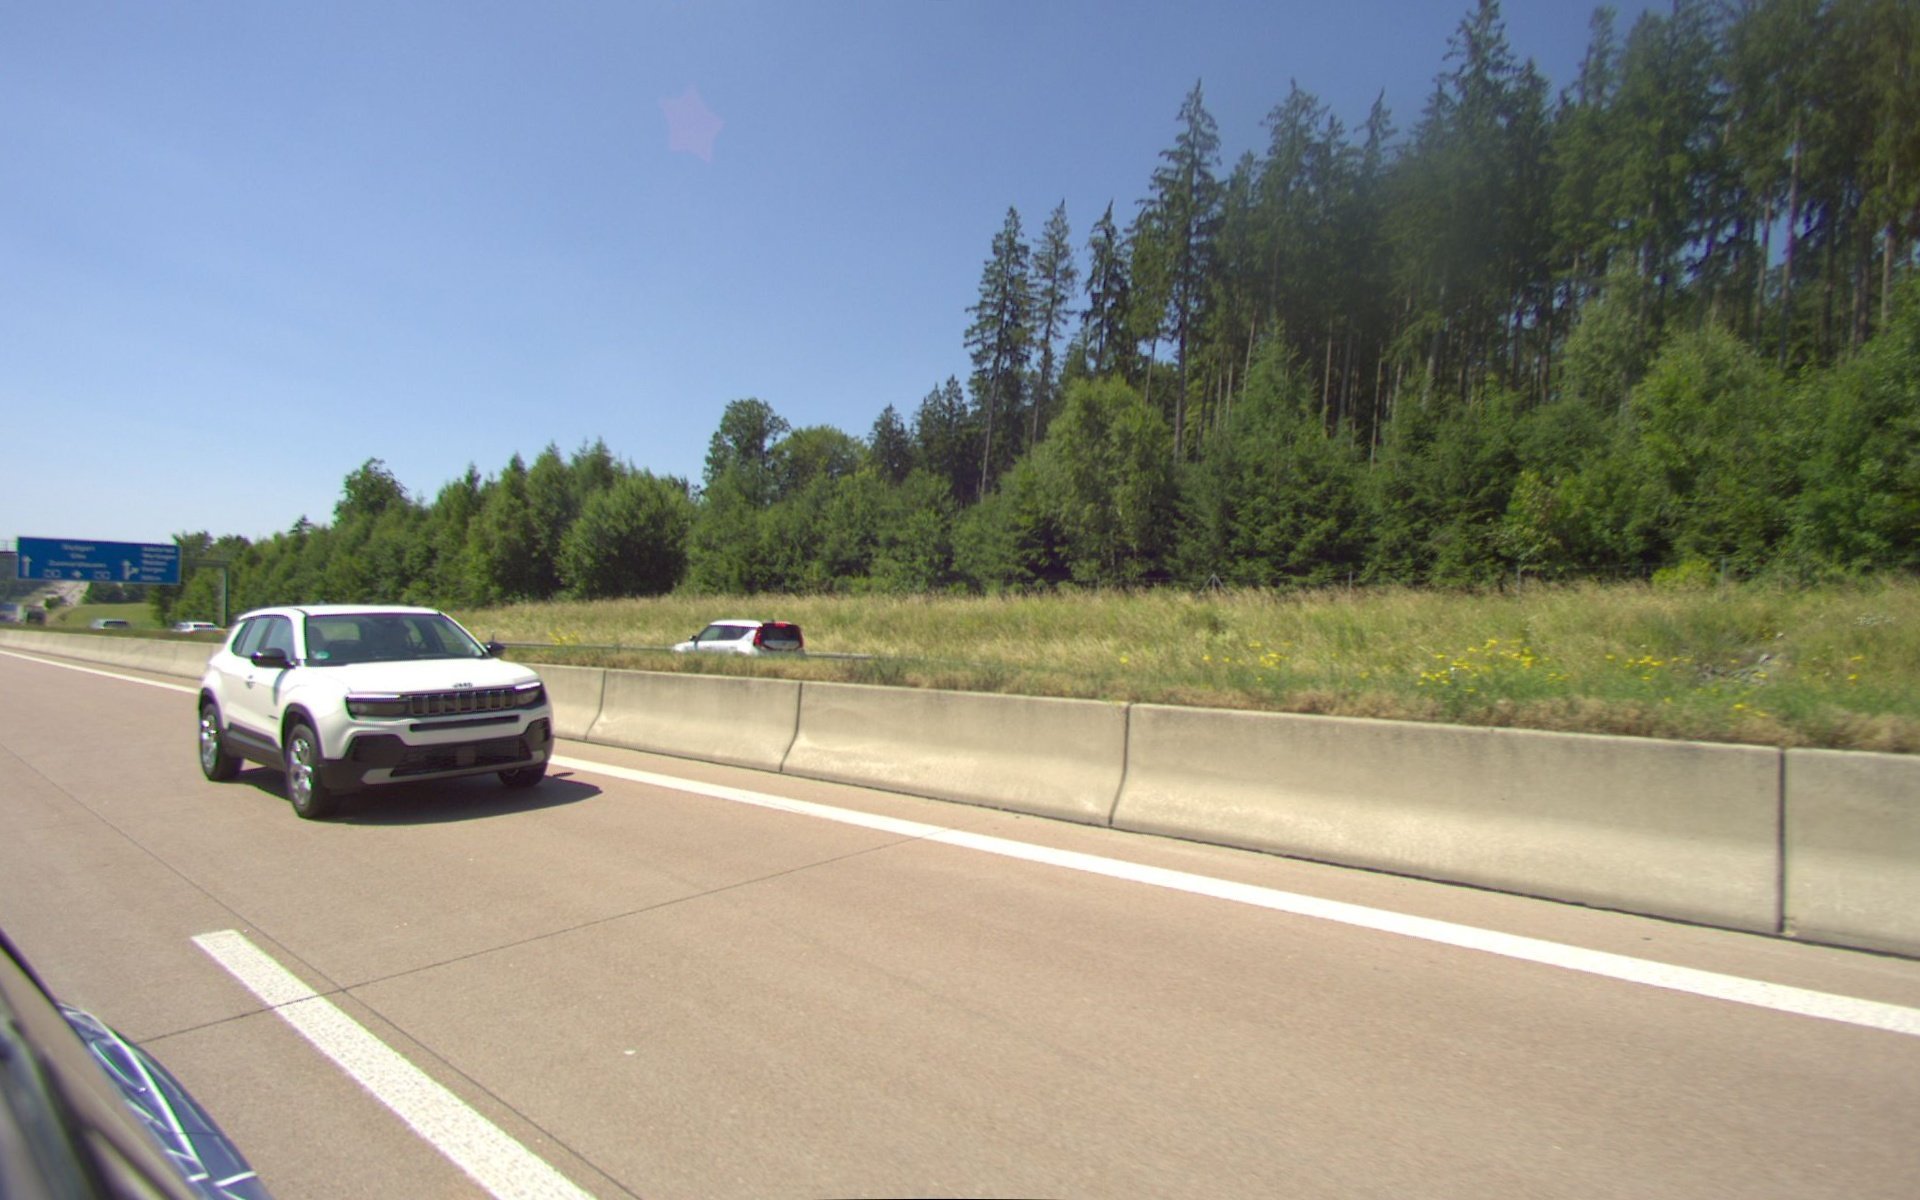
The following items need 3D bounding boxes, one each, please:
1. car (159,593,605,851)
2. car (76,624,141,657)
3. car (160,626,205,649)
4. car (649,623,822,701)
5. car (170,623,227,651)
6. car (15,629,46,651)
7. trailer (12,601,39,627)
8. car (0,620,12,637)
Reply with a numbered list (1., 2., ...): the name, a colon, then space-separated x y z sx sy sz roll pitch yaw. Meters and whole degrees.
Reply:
1. car: -5.149 0.804 8.671 4.831 1.619 1.859 -1 -1 41
2. car: -47.289 2.229 56.205 4.457 1.752 1.873 -1 -1 38
3. car: -57.588 2.777 74.934 4.462 1.606 1.871 -1 -1 42
4. car: -5.638 1.461 25.101 4.460 1.752 1.872 -1 -1 40
5. car: -45.195 2.176 60.040 4.462 1.606 1.871 -1 -1 42
6. car: -121.487 5.168 132.221 6.884 2.706 2.209 -1 -1 41
7. trailer: -164.218 2.522 177.777 13.194 4.468 2.673 -2 -1 44
8. car: -155.996 4.701 164.464 6.095 2.706 2.209 -1 -1 42
